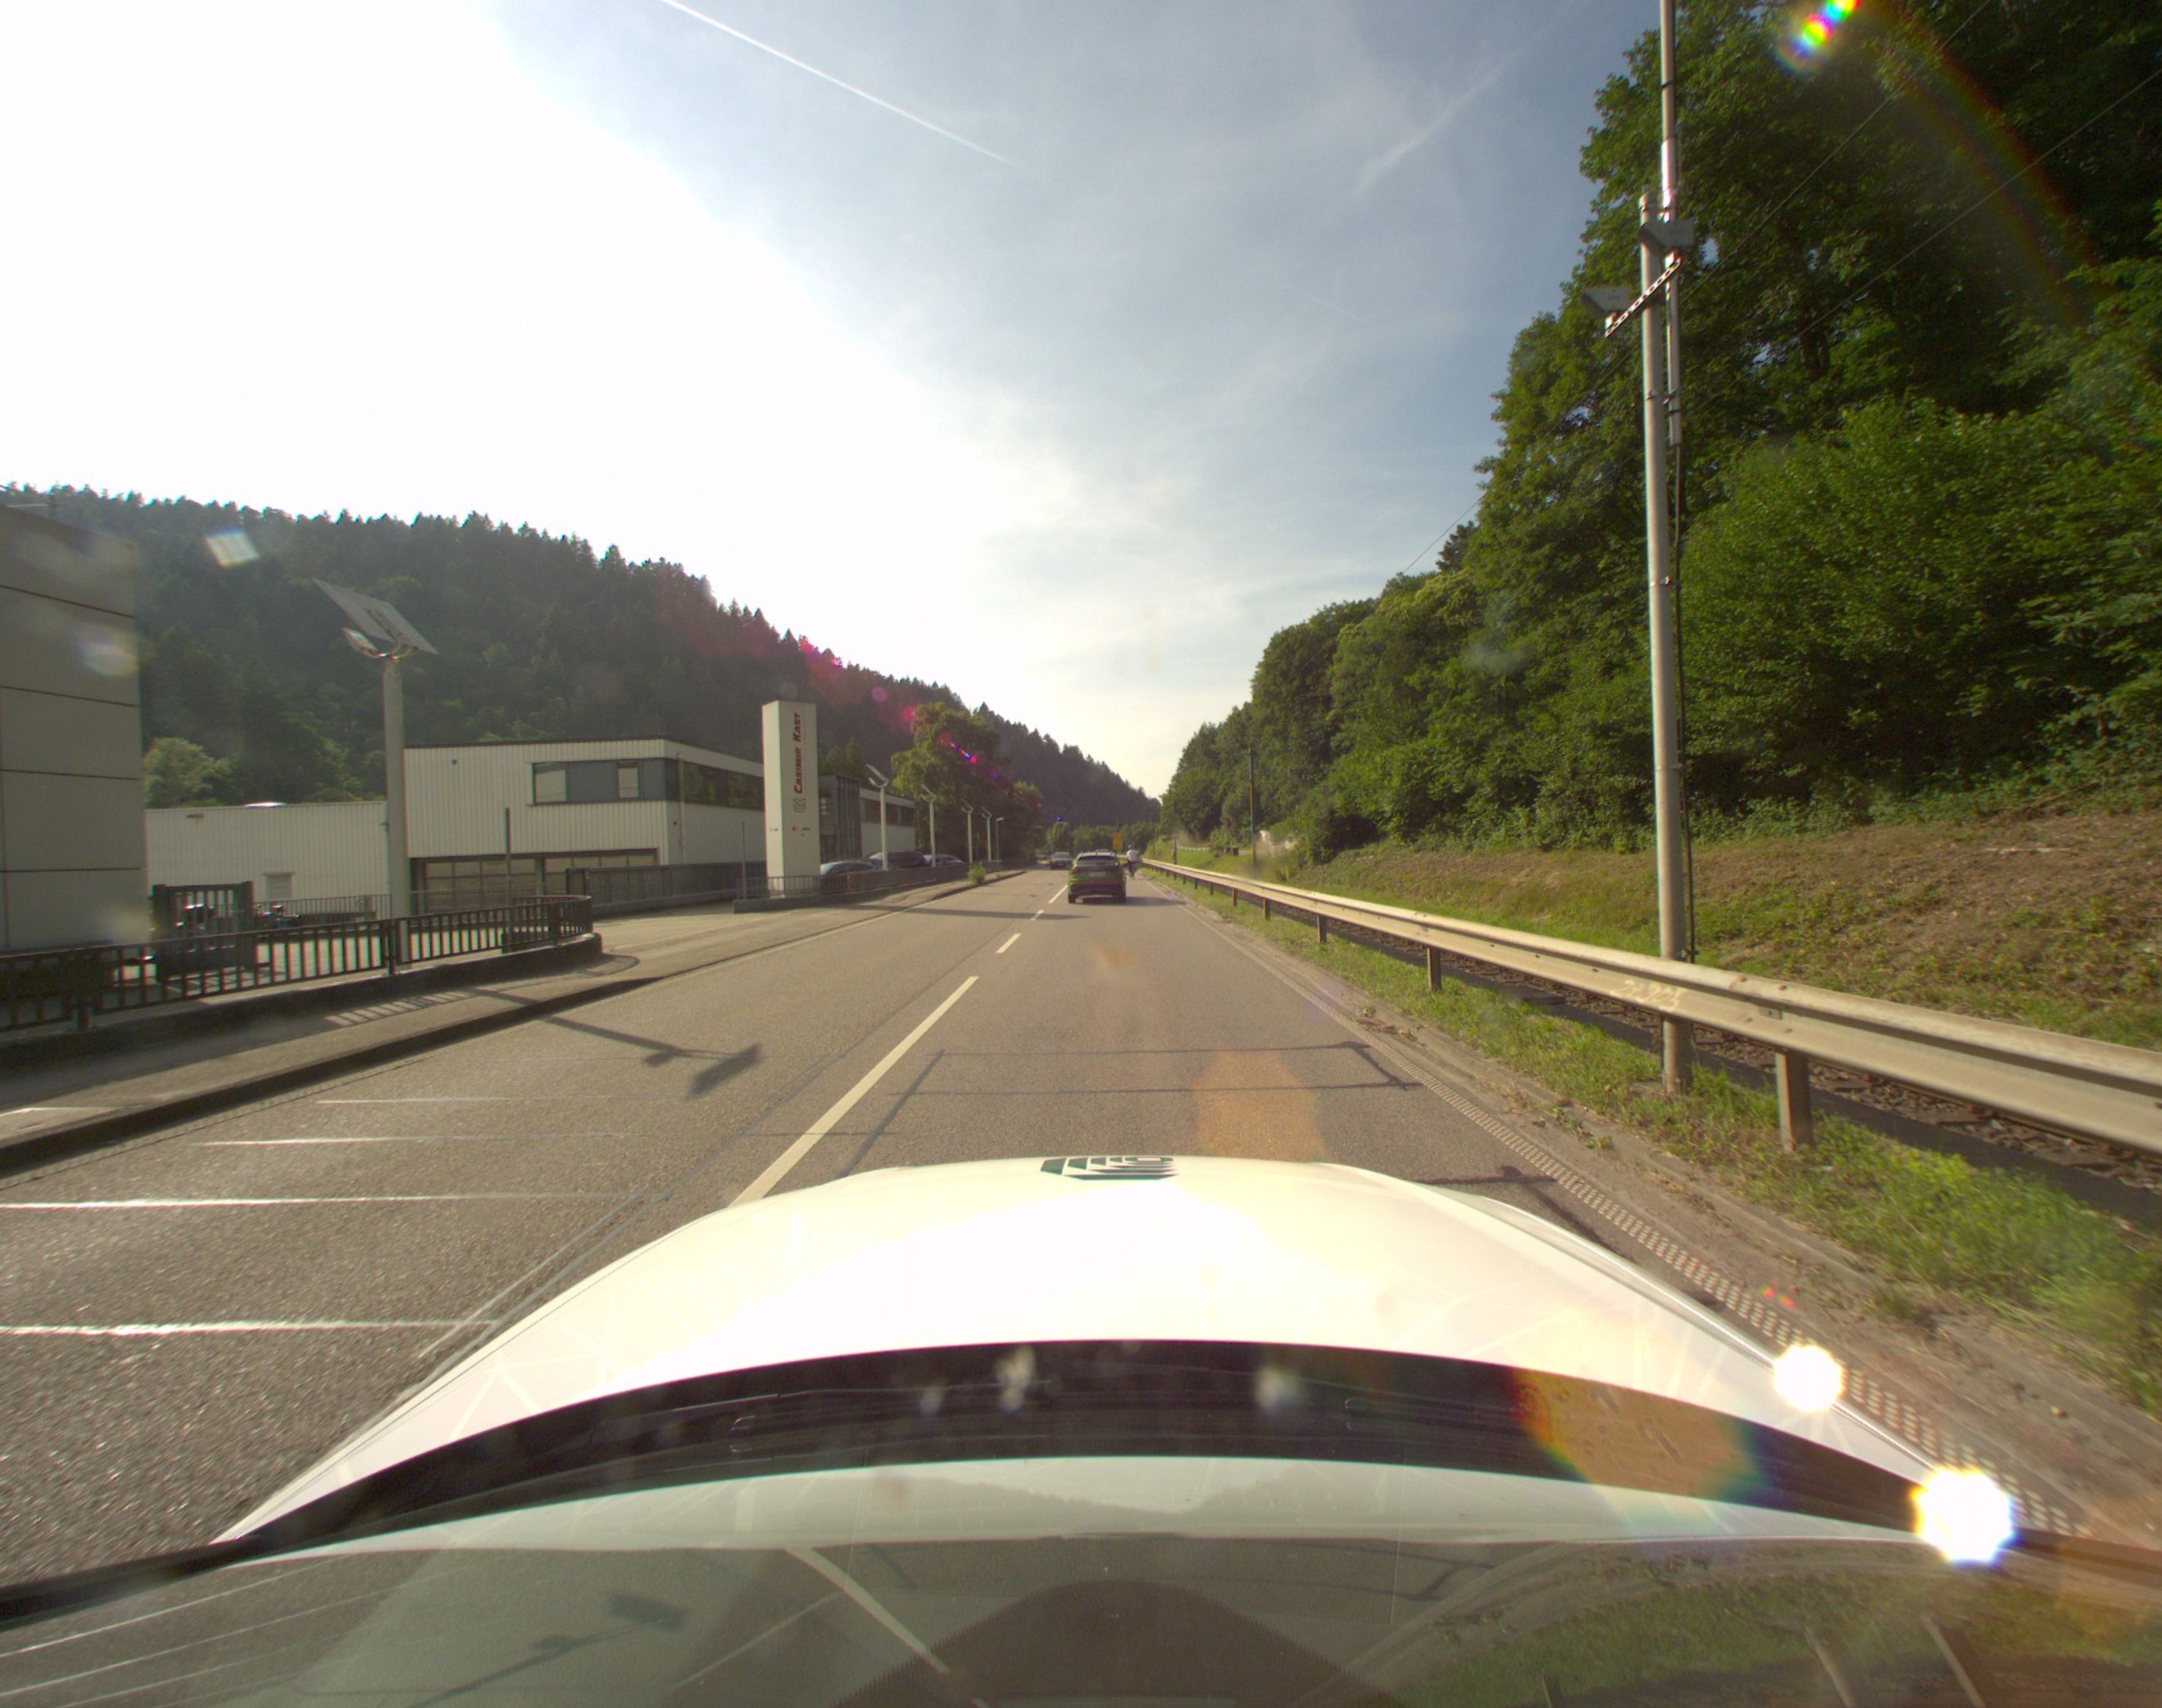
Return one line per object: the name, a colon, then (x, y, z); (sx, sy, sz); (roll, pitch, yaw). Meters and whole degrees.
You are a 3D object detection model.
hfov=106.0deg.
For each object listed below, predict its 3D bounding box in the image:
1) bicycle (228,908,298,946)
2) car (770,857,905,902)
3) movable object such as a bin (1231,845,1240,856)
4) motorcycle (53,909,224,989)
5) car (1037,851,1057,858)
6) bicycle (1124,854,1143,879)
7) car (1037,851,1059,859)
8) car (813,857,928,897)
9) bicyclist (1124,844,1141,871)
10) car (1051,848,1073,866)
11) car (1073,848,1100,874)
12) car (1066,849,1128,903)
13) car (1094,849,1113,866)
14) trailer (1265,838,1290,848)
bicycle: (-23.552, 2.098, 23.453); (1.672, 0.978, 0.287); (-3, 0, 1)
car: (-8.795, 0.889, 29.813); (1.690, 1.375, 4.765); (-2, 0, 31)
movable object such as a bin: (16.326, -0.392, 86.298); (0.850, 1.107, 0.936); (-2, 0, 7)
motorcycle: (-16.708, 1.649, 14.537); (0.510, 1.152, 2.090); (-3, 0, 2)
car: (-7.335, 0.126, 177.256); (4.242, 1.433, 1.557); (-2, 0, 2)
bicycle: (2.727, 0.654, 42.780); (0.809, 1.250, 2.122); (-2, 0, 0)
car: (-6.334, 0.209, 156.423); (4.242, 1.433, 1.557); (-2, 0, 2)
car: (-8.687, 0.911, 34.074); (1.690, 1.439, 4.765); (-2, 0, 31)
bicyclist: (2.713, 0.181, 42.865); (0.779, 1.412, 0.675); (-2, 0, -1)
car: (-1.577, 0.263, 69.961); (1.671, 1.485, 4.247); (0, 0, 1)
car: (0.397, 0.433, 54.437); (1.733, 1.602, 4.000); (-1, 0, 1)
car: (0.478, 0.623, 25.209); (1.733, 1.508, 4.000); (-1, 0, 1)
car: (2.201, 0.307, 80.035); (1.733, 1.602, 4.000); (-2, 0, 1)
trailer: (24.266, -1.315, 100.661); (2.060, 1.192, 3.713); (-1, 0, -1)
